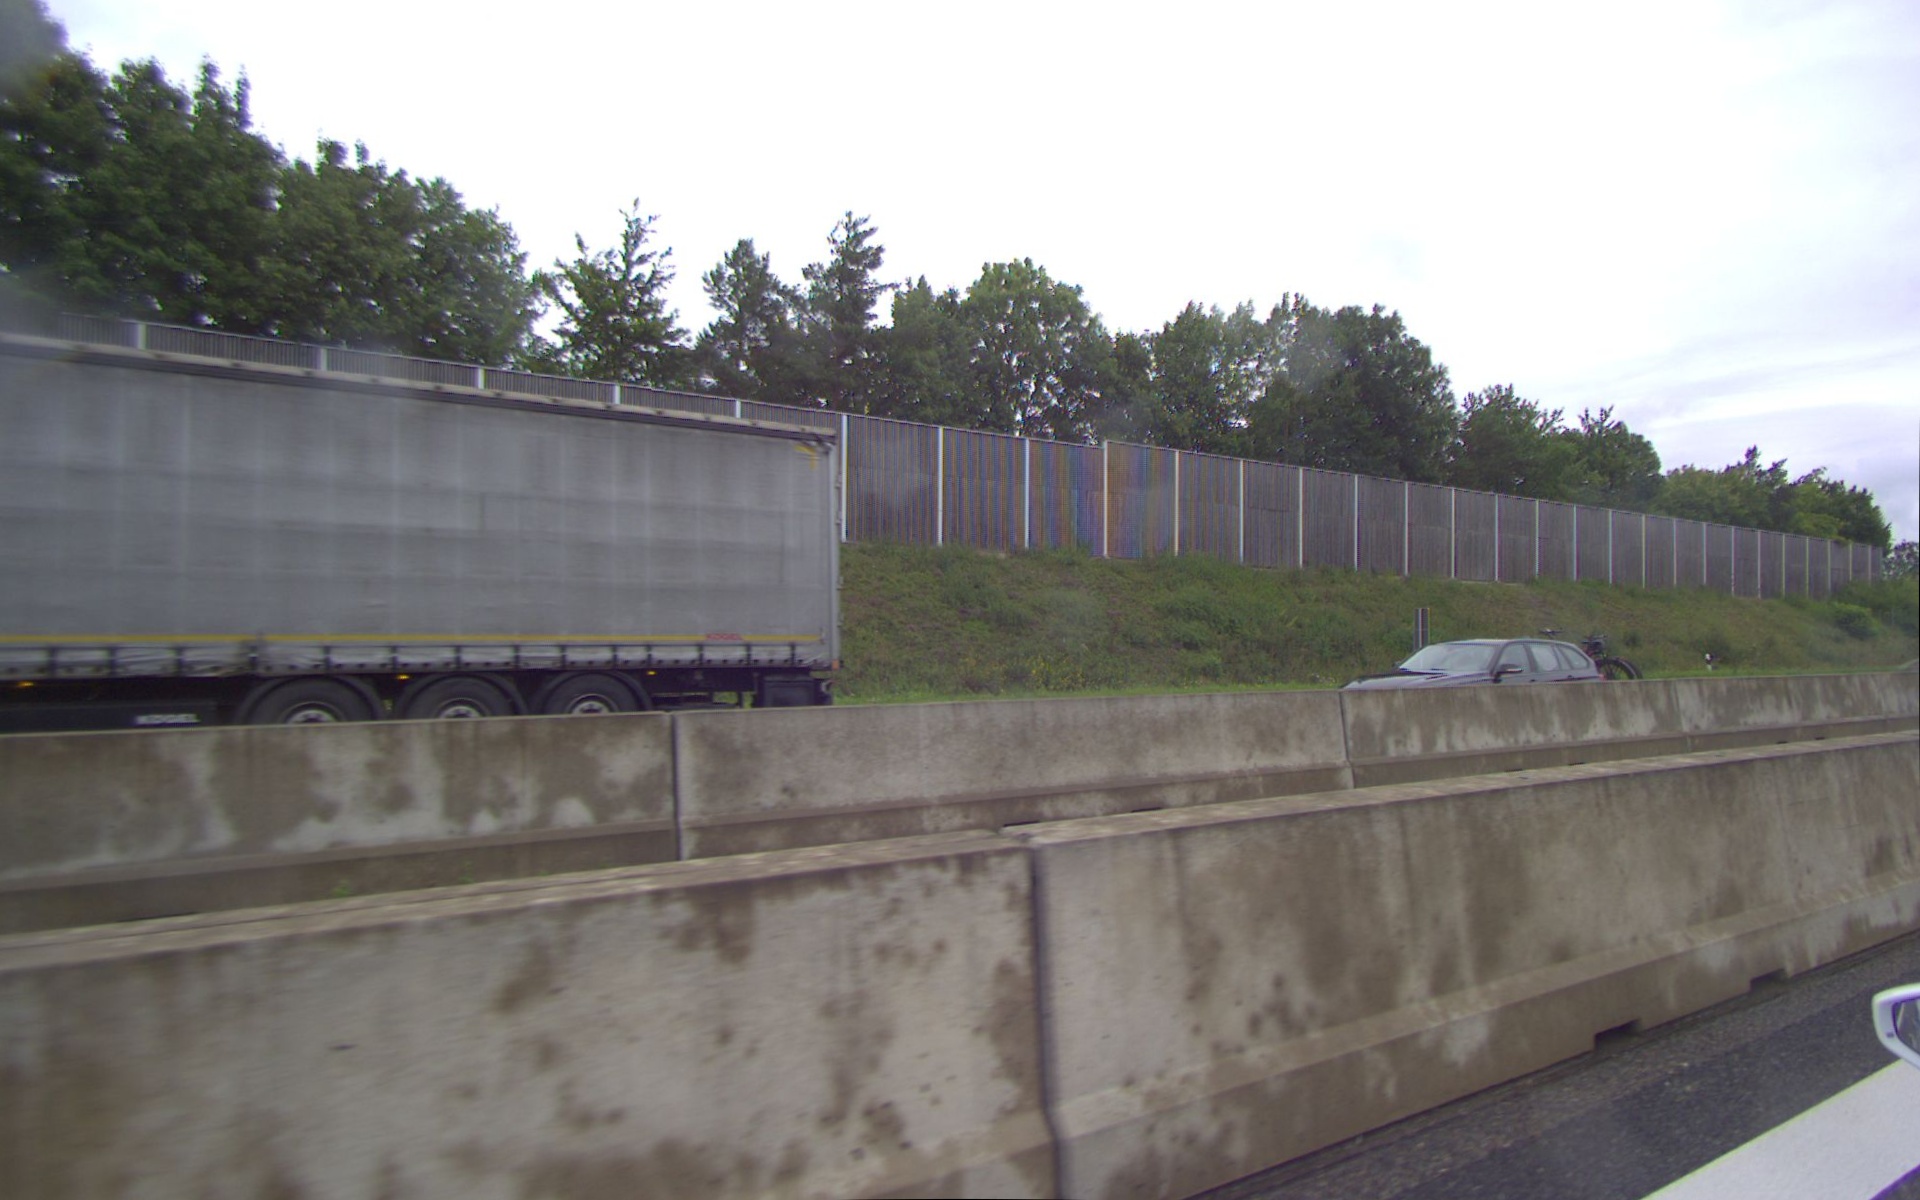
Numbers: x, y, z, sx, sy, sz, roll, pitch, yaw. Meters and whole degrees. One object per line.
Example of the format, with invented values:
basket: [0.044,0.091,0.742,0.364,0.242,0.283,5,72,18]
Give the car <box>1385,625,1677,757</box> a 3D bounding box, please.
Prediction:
car: [8.625,1.256,15.113,4.306,1.712,1.963,1,-1,-30]

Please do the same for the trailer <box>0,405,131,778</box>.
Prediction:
trailer: [-17.627,-0.275,9.844,14.171,4.382,3.075,2,-2,-31]

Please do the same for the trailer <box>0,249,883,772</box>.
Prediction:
trailer: [-7.675,-0.733,10.262,13.860,4.382,2.766,2,0,-31]
